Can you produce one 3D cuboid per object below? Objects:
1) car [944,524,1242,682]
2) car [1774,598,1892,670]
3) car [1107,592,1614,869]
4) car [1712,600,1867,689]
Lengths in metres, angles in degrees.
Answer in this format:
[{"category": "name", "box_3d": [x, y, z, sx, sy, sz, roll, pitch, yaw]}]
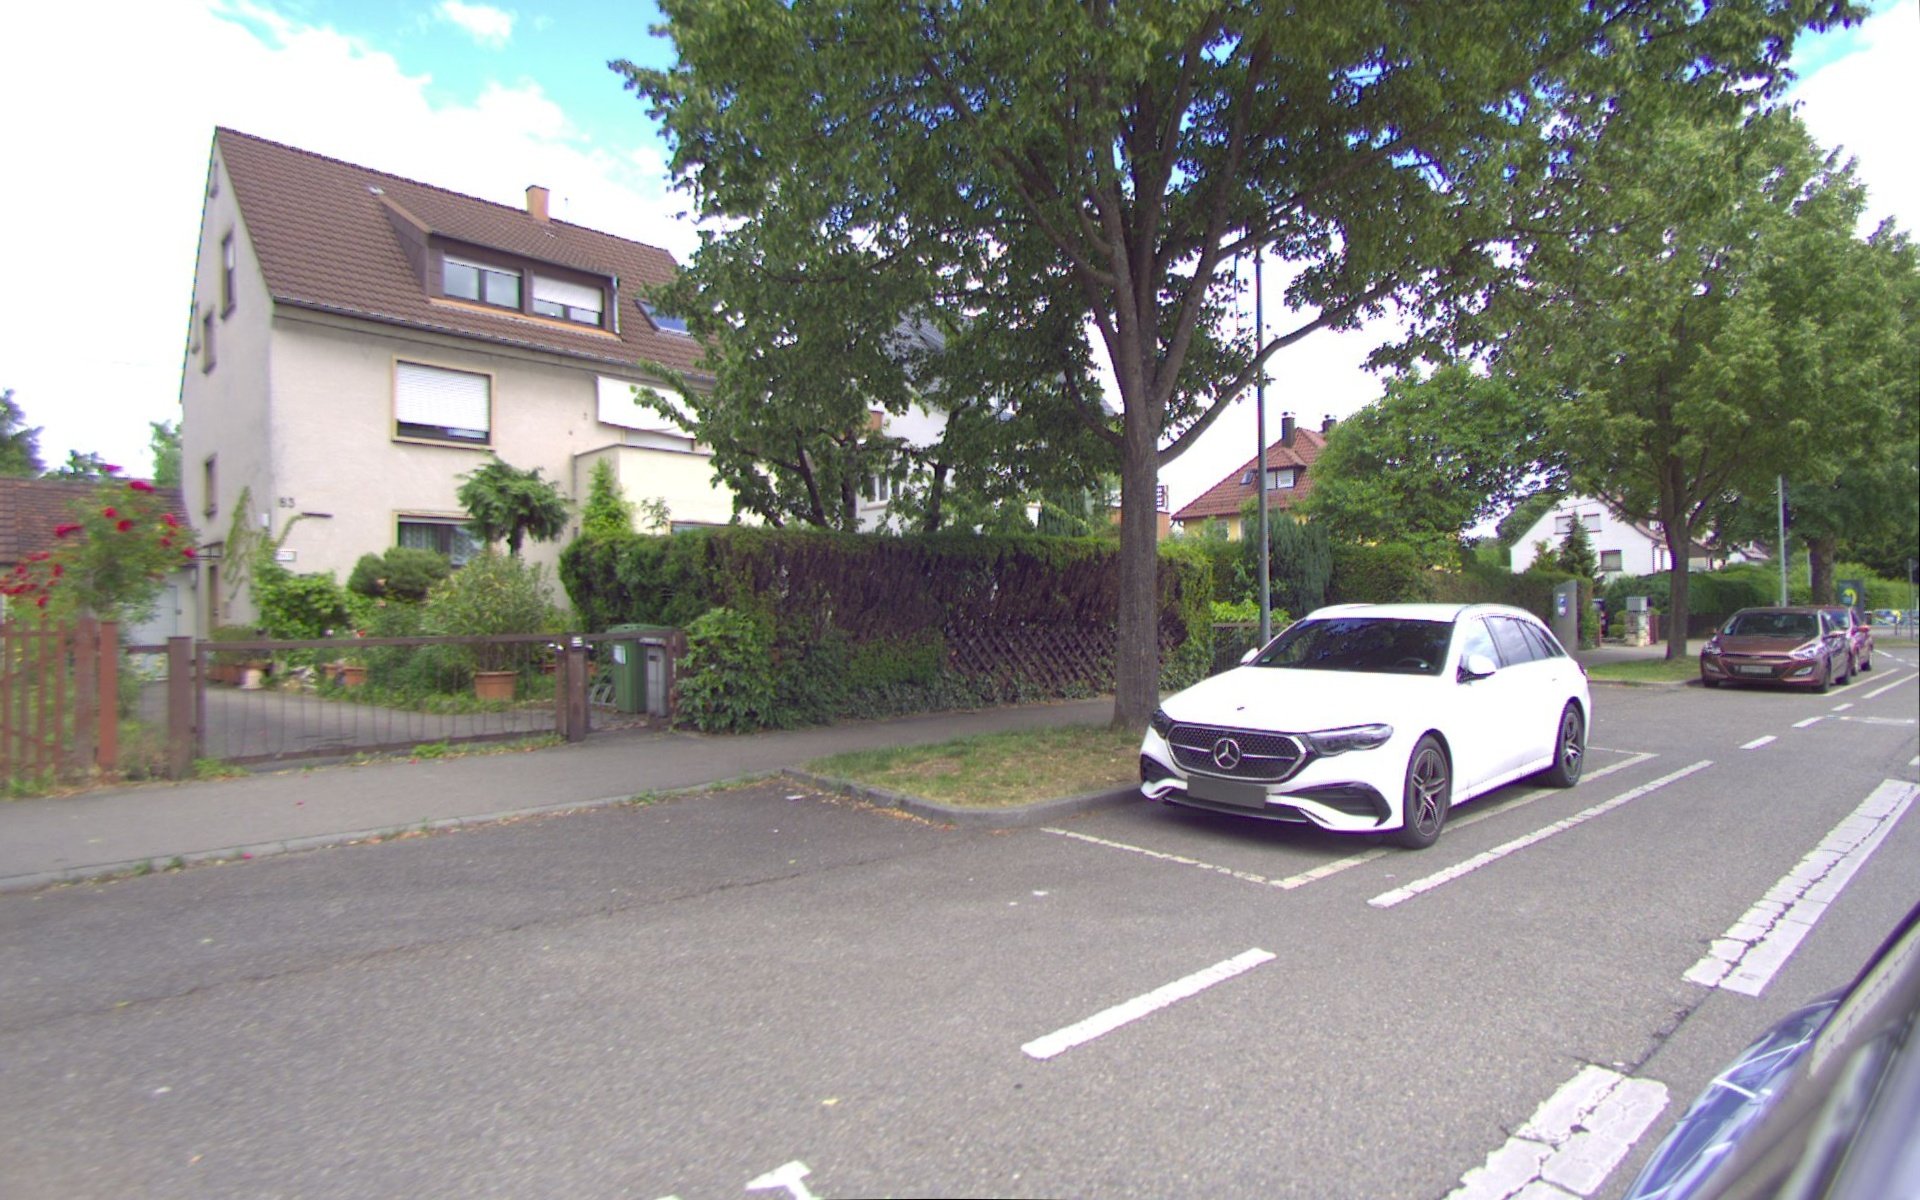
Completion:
[{"category": "car", "box_3d": [2.372, 0.079, 19.574, 5.714, 2.625, 1.966, -1, -2, 45]}, {"category": "car", "box_3d": [19.683, 0.714, 22.775, 3.605, 1.474, 1.567, 0, -1, -42]}, {"category": "car", "box_3d": [3.314, 0.699, 7.764, 4.732, 1.493, 1.807, 0, 0, -44]}, {"category": "car", "box_3d": [15.350, 0.736, 18.654, 4.106, 1.434, 1.655, 0, 0, -43]}]
